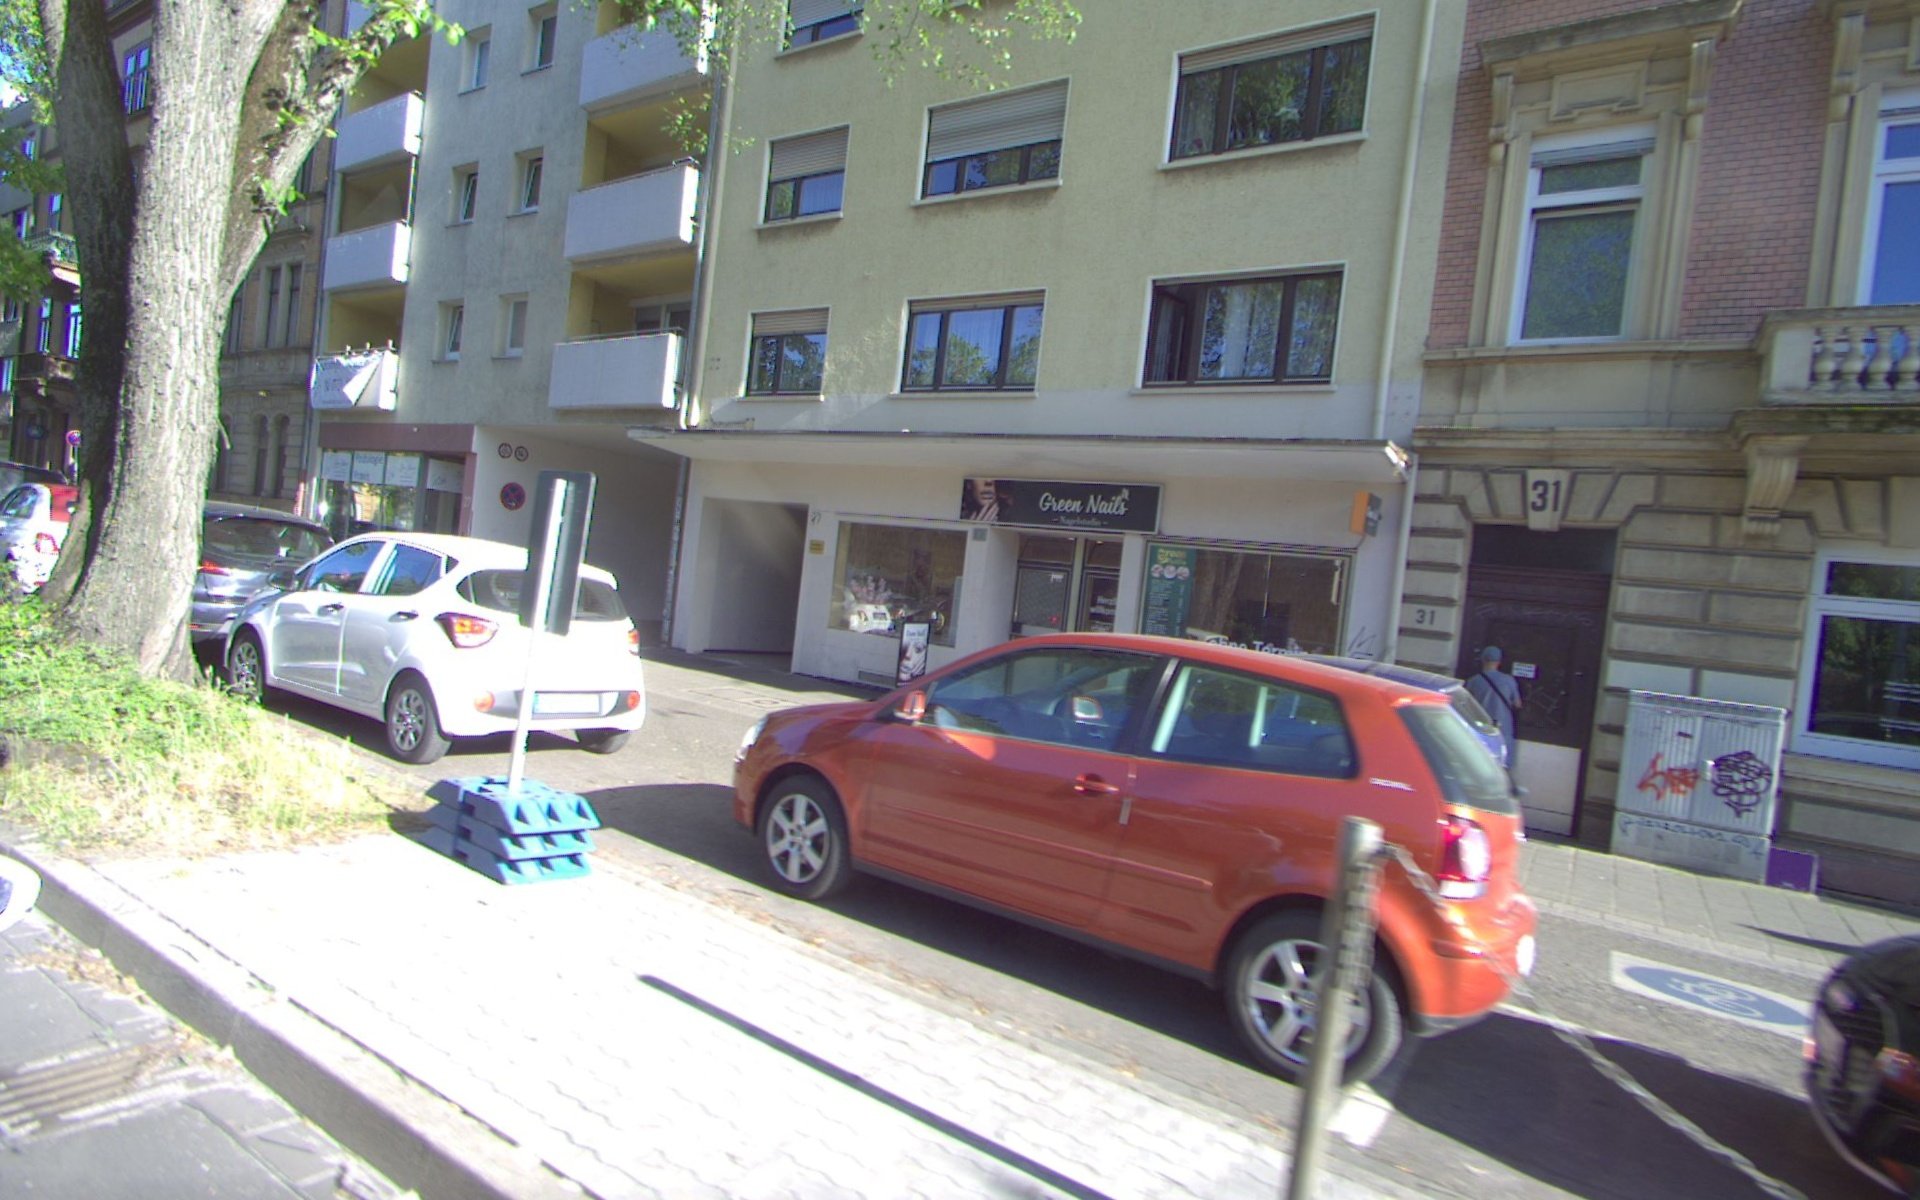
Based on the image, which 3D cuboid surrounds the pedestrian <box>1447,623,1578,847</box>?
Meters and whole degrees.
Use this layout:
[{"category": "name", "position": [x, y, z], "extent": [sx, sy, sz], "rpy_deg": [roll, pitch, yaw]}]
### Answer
[{"category": "pedestrian", "position": [5.468, 1.305, 9.956], "extent": [0.839, 2.037, 0.512], "rpy_deg": [8, 0, 37]}]

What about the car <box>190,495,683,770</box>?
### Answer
[{"category": "car", "position": [-4.148, 0.181, 7.851], "extent": [3.636, 1.494, 1.629], "rpy_deg": [8, -1, 31]}]

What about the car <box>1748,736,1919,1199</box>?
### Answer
[{"category": "car", "position": [4.522, 1.400, 2.208], "extent": [4.101, 1.438, 1.699], "rpy_deg": [8, -1, 33]}]

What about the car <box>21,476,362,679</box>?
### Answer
[{"category": "car", "position": [-7.782, -0.270, 10.092], "extent": [3.727, 1.503, 1.563], "rpy_deg": [8, -1, 35]}]

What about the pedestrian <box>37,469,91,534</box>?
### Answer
[{"category": "pedestrian", "position": [-27.972, -3.066, 31.413], "extent": [0.704, 1.863, 1.000], "rpy_deg": [8, 1, 35]}]

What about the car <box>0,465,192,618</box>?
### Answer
[{"category": "car", "position": [-11.165, -0.791, 12.542], "extent": [3.438, 1.497, 1.513], "rpy_deg": [8, -1, 37]}]

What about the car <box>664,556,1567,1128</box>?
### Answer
[{"category": "car", "position": [0.576, 0.784, 4.840], "extent": [3.841, 1.451, 1.591], "rpy_deg": [8, -1, 33]}]

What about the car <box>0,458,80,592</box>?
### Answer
[{"category": "car", "position": [-14.409, -1.249, 14.467], "extent": [4.076, 1.687, 1.627], "rpy_deg": [8, -1, 36]}]

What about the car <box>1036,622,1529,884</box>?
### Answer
[{"category": "car", "position": [2.900, 1.198, 9.302], "extent": [3.933, 1.500, 1.693], "rpy_deg": [8, 3, 31]}]
